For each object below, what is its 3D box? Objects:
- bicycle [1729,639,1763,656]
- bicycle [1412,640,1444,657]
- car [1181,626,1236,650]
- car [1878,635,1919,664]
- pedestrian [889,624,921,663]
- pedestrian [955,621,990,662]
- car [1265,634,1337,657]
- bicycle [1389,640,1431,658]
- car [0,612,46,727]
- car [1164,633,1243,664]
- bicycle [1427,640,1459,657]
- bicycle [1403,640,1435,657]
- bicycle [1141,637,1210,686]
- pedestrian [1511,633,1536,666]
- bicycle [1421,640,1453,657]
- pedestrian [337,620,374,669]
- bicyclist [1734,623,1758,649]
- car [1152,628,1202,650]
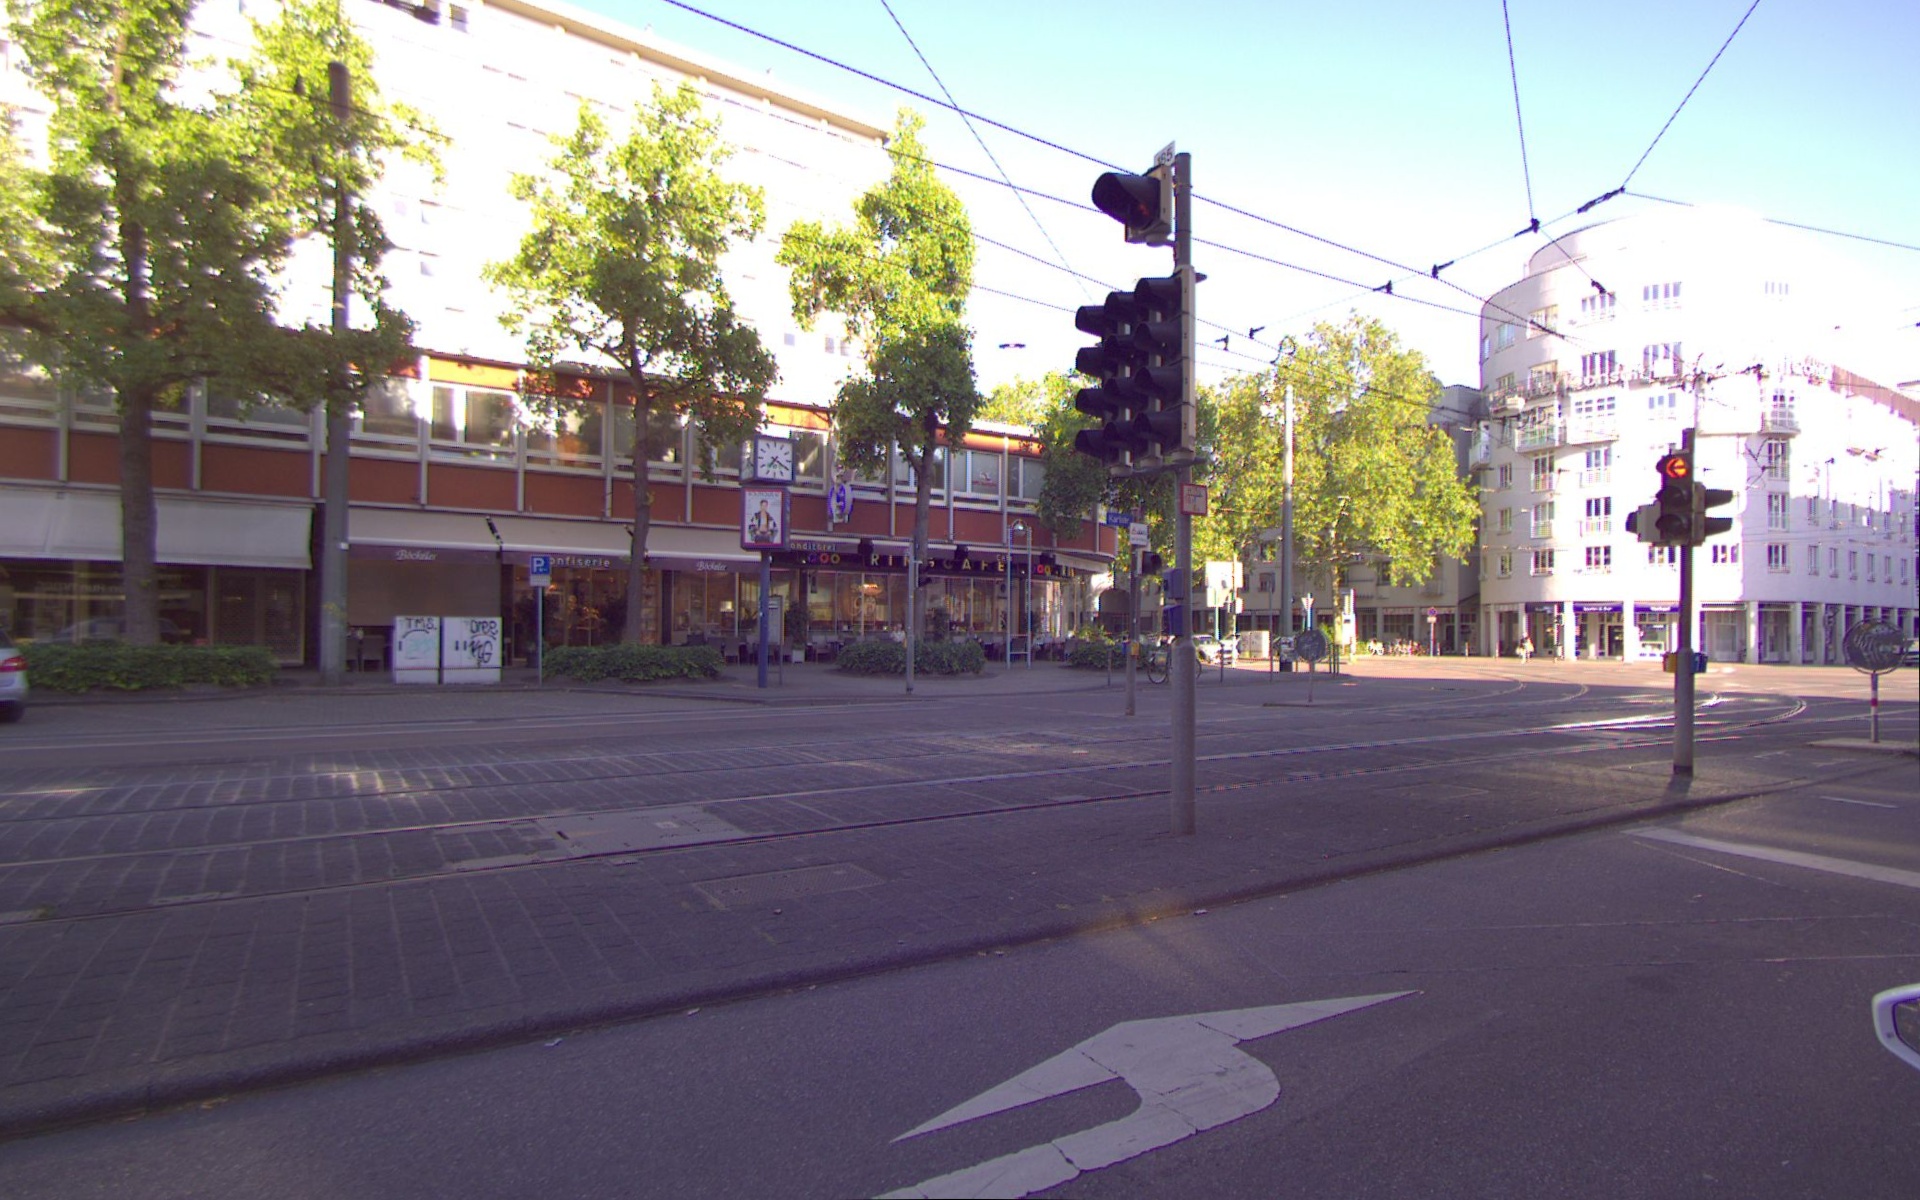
[{"bbox_3d":[44.677,2.666,57.094,2.239,0.939,0.836,1,-2,-32],"label":"bicycle"},{"bbox_3d":[32.389,3.364,69.532,0.808,1.122,1.934,1,-2,-28],"label":"bicycle"},{"bbox_3d":[18.332,2.799,74.154,3.960,1.738,1.783,2,-2,-35],"label":"car"},{"bbox_3d":[55.943,2.881,59.020,4.463,1.641,1.982,2,-2,-34],"label":"car"},{"bbox_3d":[-1.845,1.466,33.684,0.893,1.279,0.837,1,-1,-17],"label":"pedestrian"},{"bbox_3d":[0.436,1.466,35.313,0.880,1.414,0.929,1,-2,-31],"label":"pedestrian"},{"bbox_3d":[22.410,2.963,66.196,1.868,1.440,4.423,1,-2,-28],"label":"car"},{"bbox_3d":[30.379,3.301,67.830,2.410,1.122,0.932,-1,-2,44],"label":"bicycle"},{"bbox_3d":[-15.355,0.941,14.540,3.925,1.574,1.796,1,-1,26],"label":"car"},{"bbox_3d":[12.074,2.404,50.091,1.860,1.439,4.442,1,-2,-16],"label":"car"},{"bbox_3d":[34.028,3.403,70.827,0.809,1.122,1.933,1,-2,-30],"label":"bicycle"},{"bbox_3d":[31.532,3.348,69.063,0.808,1.122,1.934,1,-2,-28],"label":"bicycle"},{"bbox_3d":[5.668,1.604,26.415,1.833,1.251,0.578,1,0,-28],"label":"bicycle"},{"bbox_3d":[29.698,2.584,52.945,0.687,1.704,0.866,-1,-1,-24],"label":"pedestrian"},{"bbox_3d":[33.349,3.387,70.293,0.809,1.122,1.933,1,-2,-30],"label":"bicycle"},{"bbox_3d":[-15.059,1.104,25.026,0.721,1.187,0.771,1,-2,-36],"label":"pedestrian"},{"bbox_3d":[44.696,2.056,57.106,0.886,1.486,0.836,1,-1,-32],"label":"bicyclist"},{"bbox_3d":[17.829,3.184,82.373,3.960,1.738,1.783,2,-2,-35],"label":"car"}]
